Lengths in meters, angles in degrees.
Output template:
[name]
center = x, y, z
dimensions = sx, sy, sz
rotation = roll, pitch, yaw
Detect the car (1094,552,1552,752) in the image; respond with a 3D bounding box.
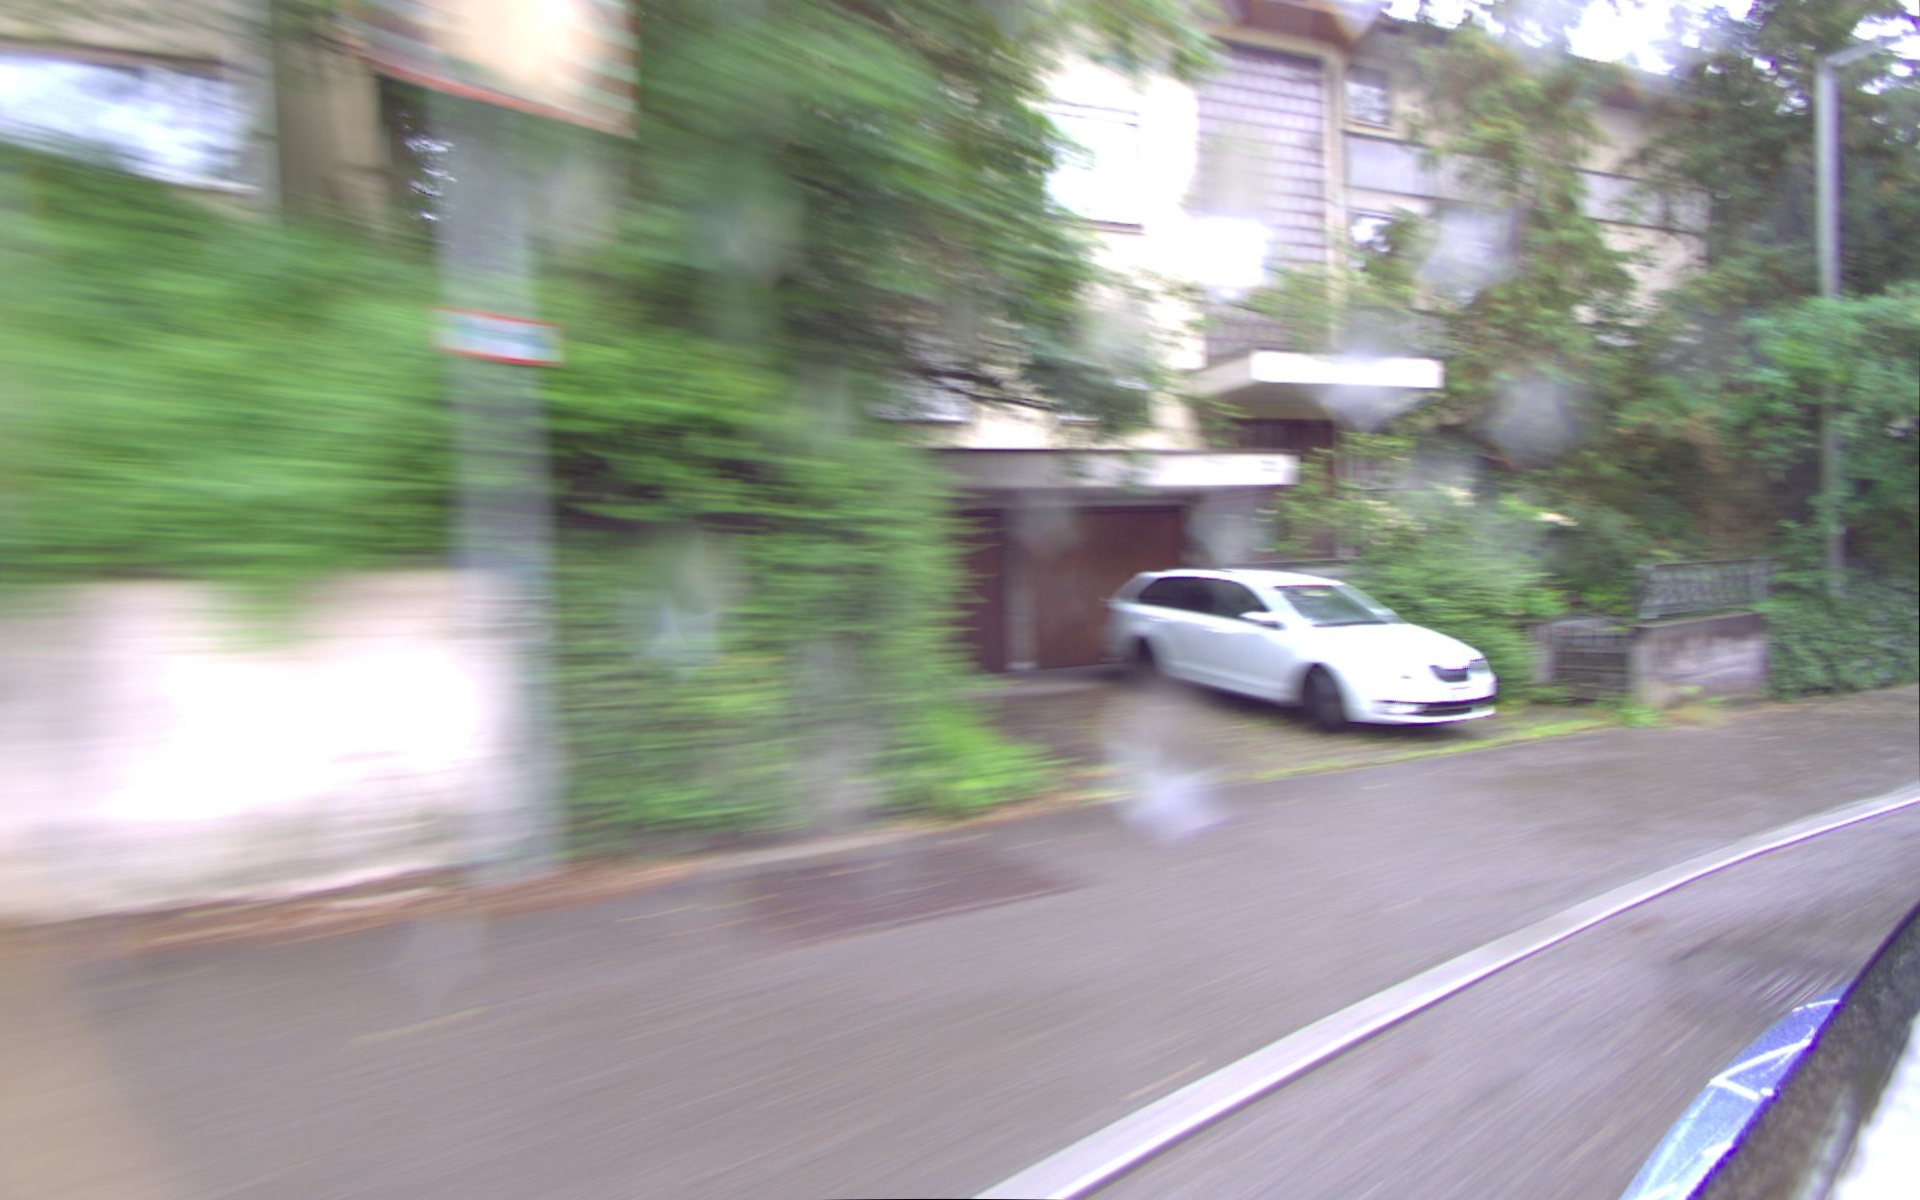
[car]
center = 3.615, 0.341, 11.106
dimensions = 1.959, 1.571, 4.574
rotation = 0, 4, -27
